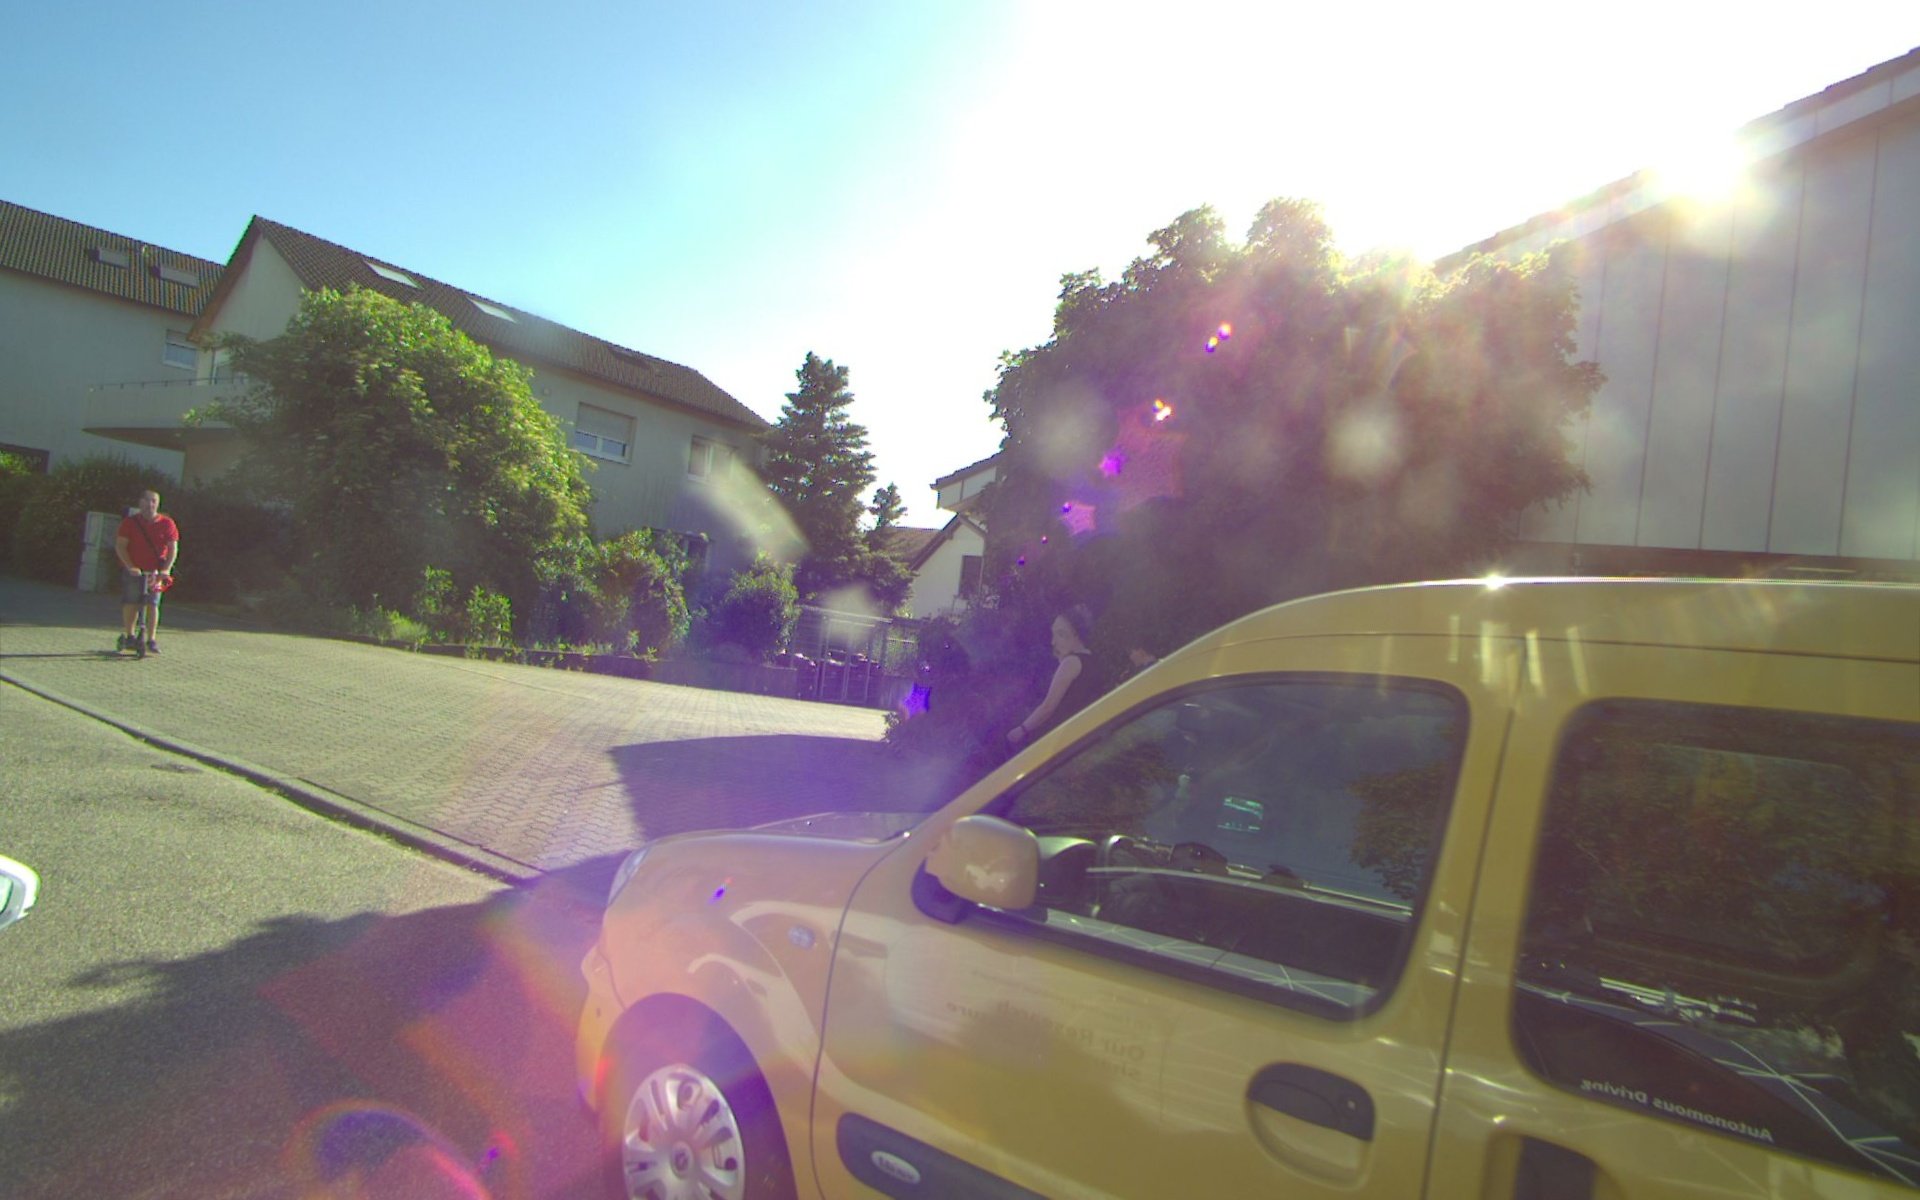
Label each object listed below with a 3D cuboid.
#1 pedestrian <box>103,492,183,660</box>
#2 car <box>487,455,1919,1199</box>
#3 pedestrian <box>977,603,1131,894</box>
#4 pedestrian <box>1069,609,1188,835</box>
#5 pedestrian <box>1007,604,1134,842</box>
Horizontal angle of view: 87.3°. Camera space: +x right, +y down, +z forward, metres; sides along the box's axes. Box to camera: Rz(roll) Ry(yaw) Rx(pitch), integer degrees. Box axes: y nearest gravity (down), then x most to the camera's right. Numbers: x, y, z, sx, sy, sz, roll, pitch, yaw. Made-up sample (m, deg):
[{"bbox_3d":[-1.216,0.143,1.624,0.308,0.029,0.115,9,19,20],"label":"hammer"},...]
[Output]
[{"bbox_3d":[-9.370,-0.265,11.541,0.478,1.856,0.484,7,3,30],"label":"pedestrian"},{"bbox_3d":[1.026,0.819,2.191,3.935,1.858,1.727,6,-2,33],"label":"car"},{"bbox_3d":[0.591,0.894,6.239,0.538,1.656,0.567,7,-1,37],"label":"pedestrian"},{"bbox_3d":[1.331,0.944,7.926,0.538,1.656,0.567,7,-1,37],"label":"pedestrian"},{"bbox_3d":[0.836,0.904,7.542,0.538,1.656,0.567,7,-1,37],"label":"pedestrian"}]
